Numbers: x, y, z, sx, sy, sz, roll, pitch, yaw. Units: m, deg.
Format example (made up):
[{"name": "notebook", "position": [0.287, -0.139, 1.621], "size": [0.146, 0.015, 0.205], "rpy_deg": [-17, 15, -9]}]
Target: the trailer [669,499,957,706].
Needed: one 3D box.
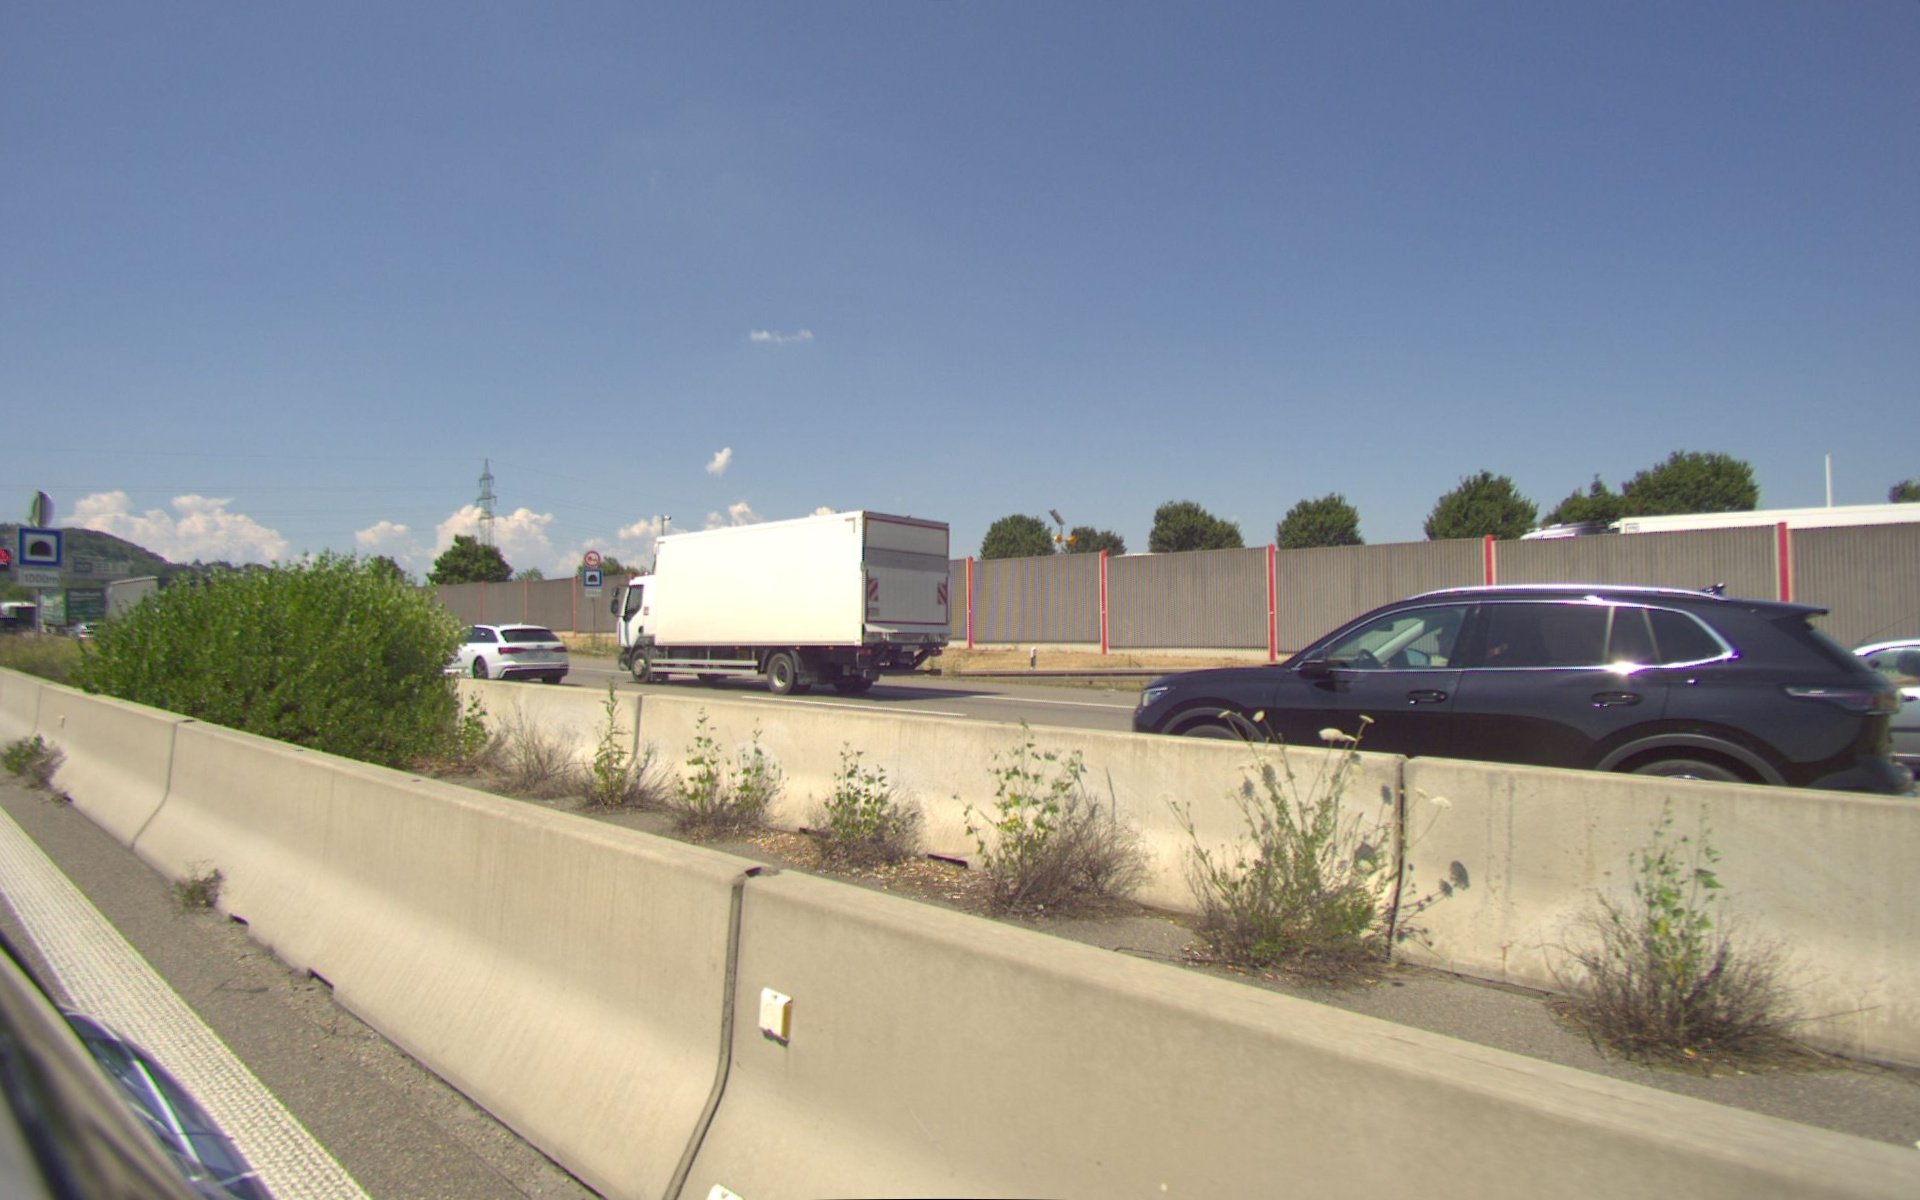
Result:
[{"name": "trailer", "position": [-3.392, 0.111, 22.268], "size": [6.614, 3.903, 2.620], "rpy_deg": [-1, -2, 41]}]

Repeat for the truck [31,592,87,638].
[{"name": "truck", "position": [-82.532, 1.340, 92.710], "size": [5.018, 4.087, 3.189], "rpy_deg": [-1, 0, 41]}]

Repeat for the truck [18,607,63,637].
[{"name": "truck", "position": [-94.029, 2.258, 103.452], "size": [9.087, 2.895, 2.374], "rpy_deg": [-1, -1, 41]}]

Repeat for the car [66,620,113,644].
[{"name": "car", "position": [-52.347, 1.895, 60.844], "size": [3.740, 1.349, 1.633], "rpy_deg": [-1, 0, 41]}]

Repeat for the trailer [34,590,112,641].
[{"name": "trailer", "position": [-77.504, 1.285, 88.288], "size": [14.384, 4.087, 3.222], "rpy_deg": [-1, 1, 41]}]

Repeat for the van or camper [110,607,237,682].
[{"name": "van or camper", "position": [-23.375, 1.251, 29.990], "size": [5.441, 2.029, 1.973], "rpy_deg": [-1, -1, 41]}]

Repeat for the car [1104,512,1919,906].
[{"name": "car", "position": [3.457, 0.548, 6.638], "size": [4.642, 1.772, 1.973], "rpy_deg": [-2, -2, 41]}]

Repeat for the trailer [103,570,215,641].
[{"name": "trailer", "position": [-51.576, 0.424, 64.901], "size": [15.156, 4.097, 2.953], "rpy_deg": [-1, -1, 41]}]

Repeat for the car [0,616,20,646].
[{"name": "car", "position": [-56.495, 1.834, 59.379], "size": [3.740, 1.716, 1.633], "rpy_deg": [-1, -1, 41]}]

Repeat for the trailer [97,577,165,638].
[{"name": "trailer", "position": [-57.302, 0.534, 69.924], "size": [4.454, 4.097, 2.929], "rpy_deg": [-1, -1, 41]}]

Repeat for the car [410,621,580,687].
[{"name": "car", "position": [-11.300, 1.235, 24.413], "size": [5.102, 1.441, 1.772], "rpy_deg": [-1, -3, 41]}]

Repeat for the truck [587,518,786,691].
[{"name": "truck", "position": [-6.891, 0.155, 25.320], "size": [4.723, 3.903, 2.613], "rpy_deg": [-1, -2, 41]}]
